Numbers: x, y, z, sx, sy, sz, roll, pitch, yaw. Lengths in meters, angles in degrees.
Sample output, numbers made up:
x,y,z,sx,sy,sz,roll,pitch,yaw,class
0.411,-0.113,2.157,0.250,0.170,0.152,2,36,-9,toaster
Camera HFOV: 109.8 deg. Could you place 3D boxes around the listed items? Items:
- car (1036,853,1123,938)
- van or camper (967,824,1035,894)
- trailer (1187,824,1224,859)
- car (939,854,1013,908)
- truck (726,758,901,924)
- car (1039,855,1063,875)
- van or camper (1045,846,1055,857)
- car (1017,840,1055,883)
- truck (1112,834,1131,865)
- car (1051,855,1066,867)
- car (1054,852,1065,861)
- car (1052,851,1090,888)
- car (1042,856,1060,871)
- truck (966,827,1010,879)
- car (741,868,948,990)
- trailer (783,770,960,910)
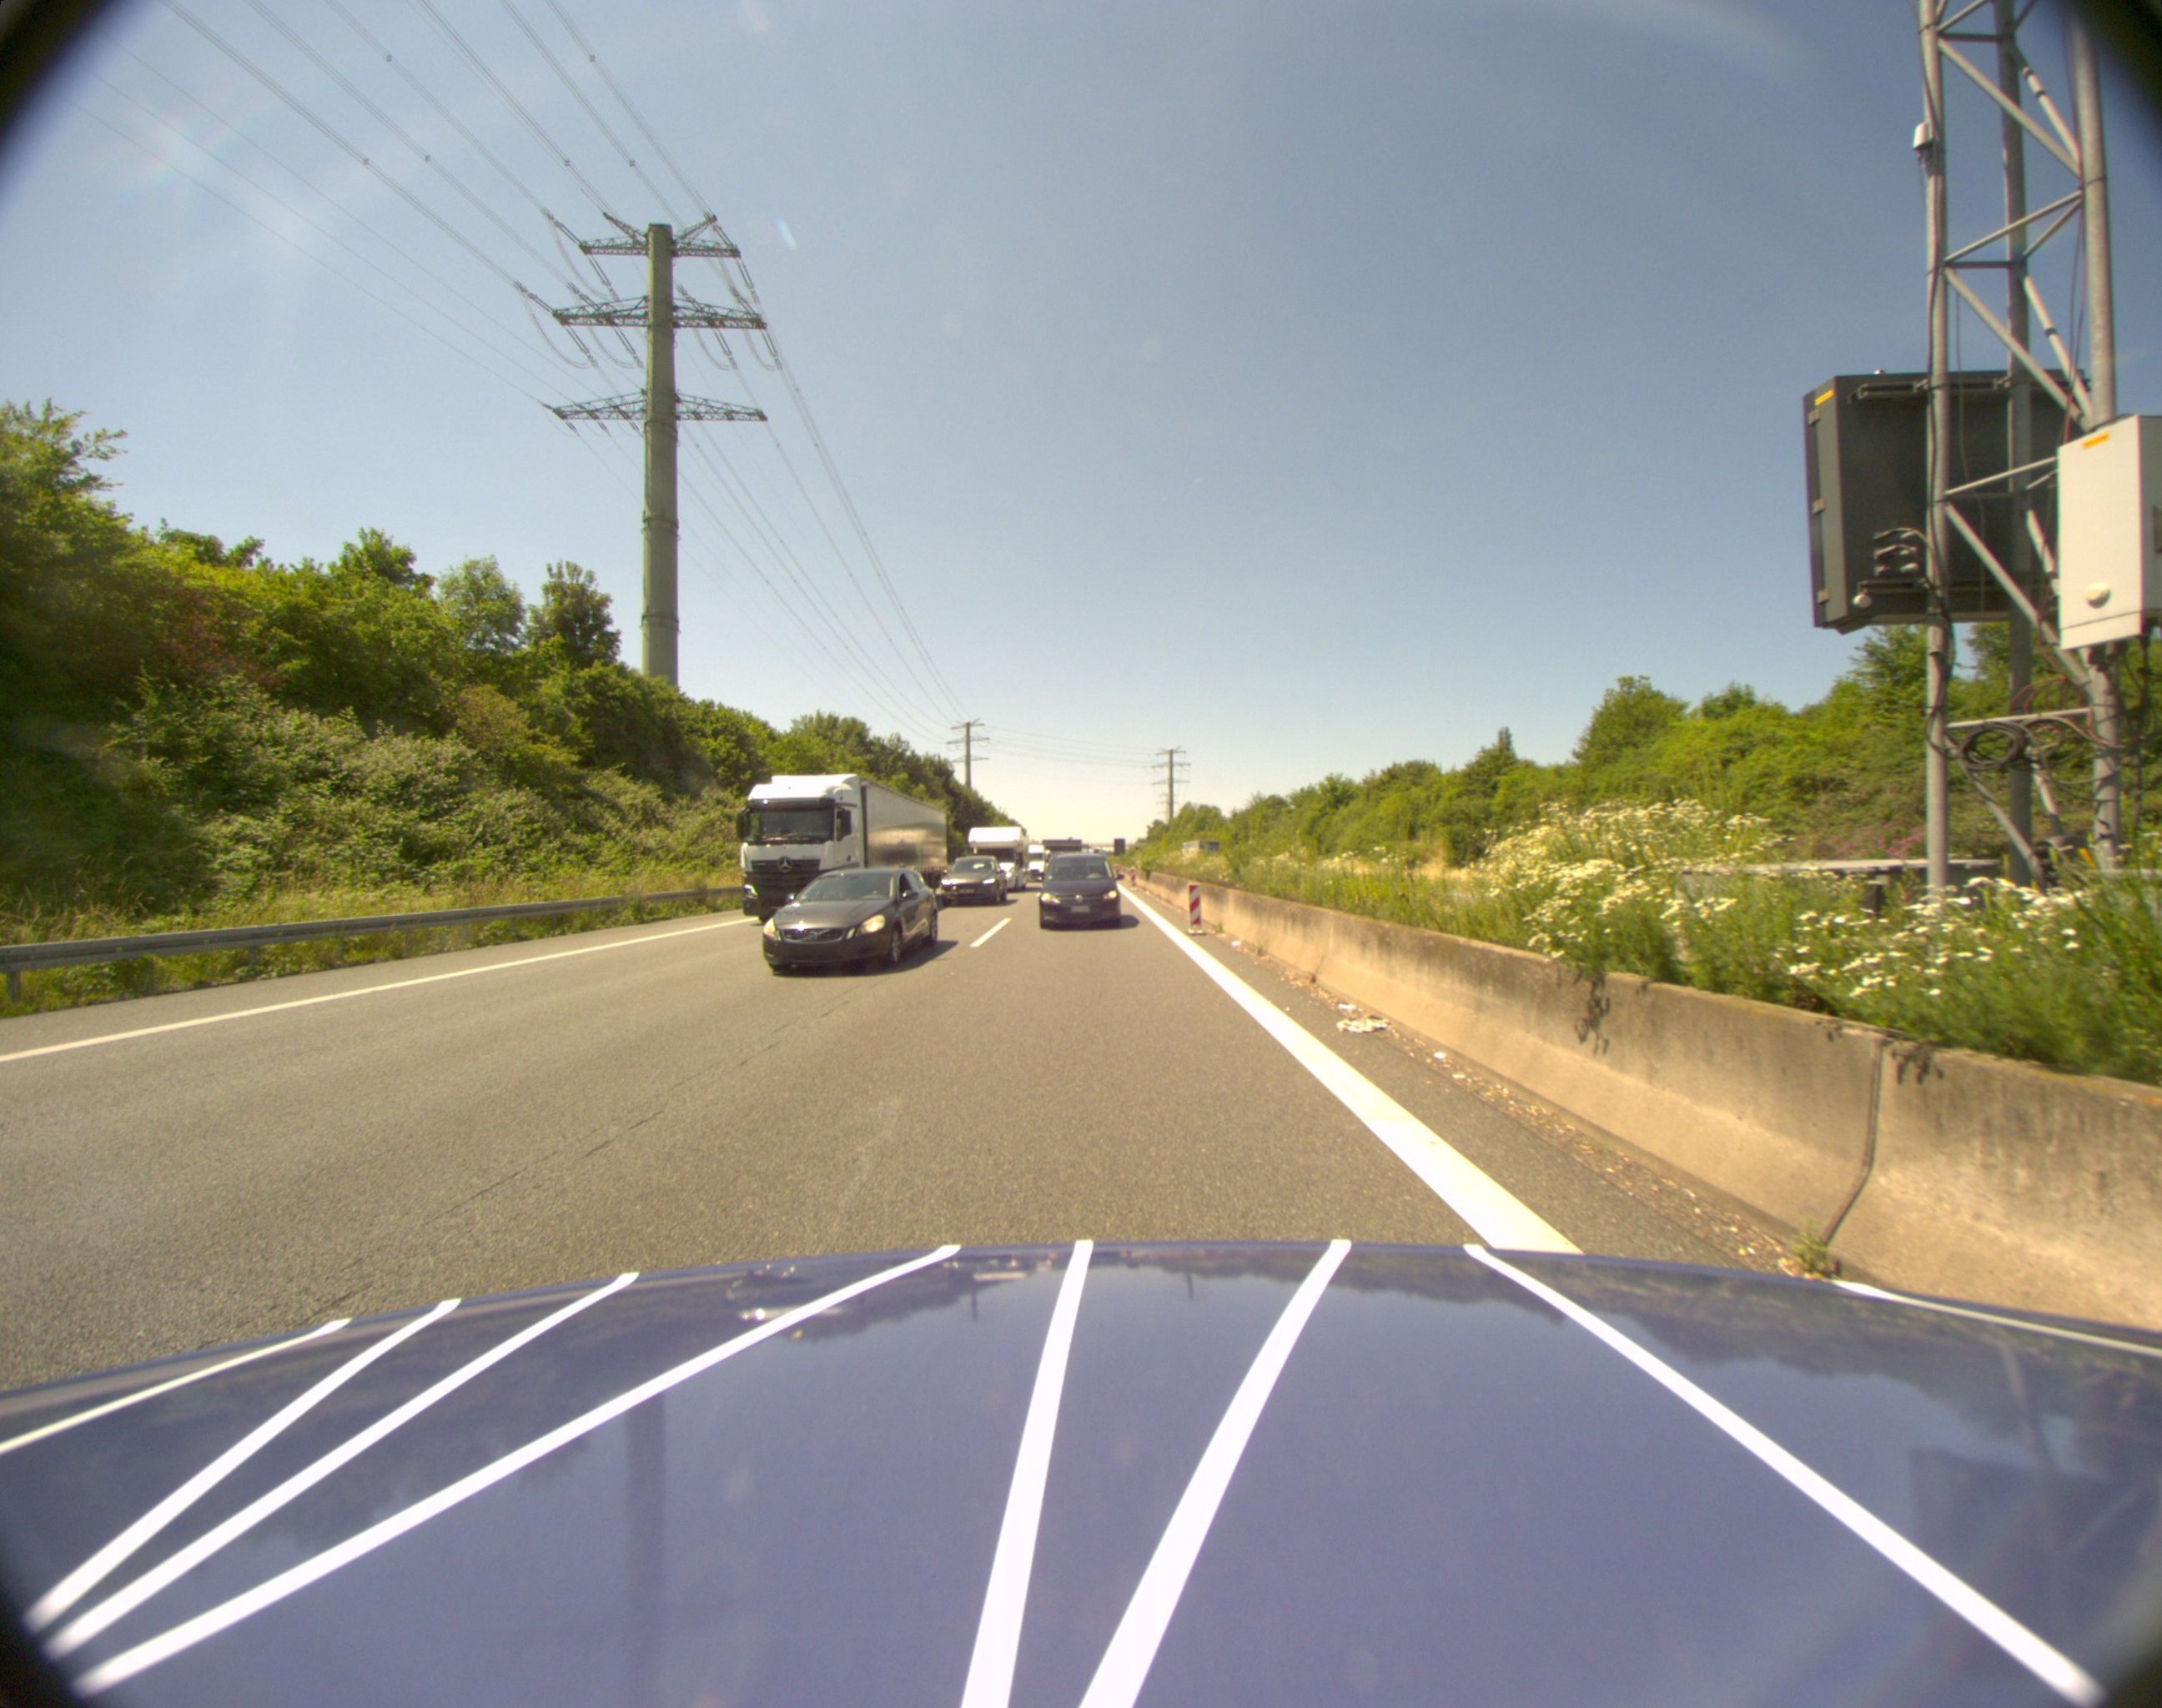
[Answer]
x,y,z,sx,sy,sz,roll,pitch,yaw,class
-0.005,0.837,17.542,1.700,1.641,4.220,-2,1,1,car
-3.803,0.174,37.783,2.375,3.026,7.632,-2,1,1,van or camper
16.701,-1.679,103.043,2.967,4.378,12.905,-2,1,1,trailer
-3.568,0.876,26.527,1.893,1.602,4.220,-2,1,1,car
-7.358,-0.353,21.841,2.740,4.024,5.793,-2,1,1,truck
-2.530,0.915,64.985,1.720,1.510,3.874,-2,1,1,car
-7.006,-0.535,173.668,1.978,2.511,4.369,-2,1,1,van or camper
-3.069,0.468,53.031,2.042,2.703,6.705,-2,1,1,car
4.623,-0.528,86.980,1.892,3.263,5.590,-2,1,1,truck
-3.090,0.988,104.294,1.720,1.510,3.874,-2,1,1,car
-3.799,0.370,133.371,1.720,1.510,3.874,-2,1,1,car
-0.459,0.731,37.946,1.700,1.641,4.220,-2,1,1,car
-3.472,1.086,87.671,1.720,1.510,3.874,-2,1,1,car
-7.837,-0.125,64.607,2.792,4.121,5.636,-2,1,1,truck
-3.491,1.024,12.214,1.799,1.411,4.509,-2,1,1,car
-7.242,-0.463,29.033,2.790,4.024,13.110,-2,1,1,trailer
